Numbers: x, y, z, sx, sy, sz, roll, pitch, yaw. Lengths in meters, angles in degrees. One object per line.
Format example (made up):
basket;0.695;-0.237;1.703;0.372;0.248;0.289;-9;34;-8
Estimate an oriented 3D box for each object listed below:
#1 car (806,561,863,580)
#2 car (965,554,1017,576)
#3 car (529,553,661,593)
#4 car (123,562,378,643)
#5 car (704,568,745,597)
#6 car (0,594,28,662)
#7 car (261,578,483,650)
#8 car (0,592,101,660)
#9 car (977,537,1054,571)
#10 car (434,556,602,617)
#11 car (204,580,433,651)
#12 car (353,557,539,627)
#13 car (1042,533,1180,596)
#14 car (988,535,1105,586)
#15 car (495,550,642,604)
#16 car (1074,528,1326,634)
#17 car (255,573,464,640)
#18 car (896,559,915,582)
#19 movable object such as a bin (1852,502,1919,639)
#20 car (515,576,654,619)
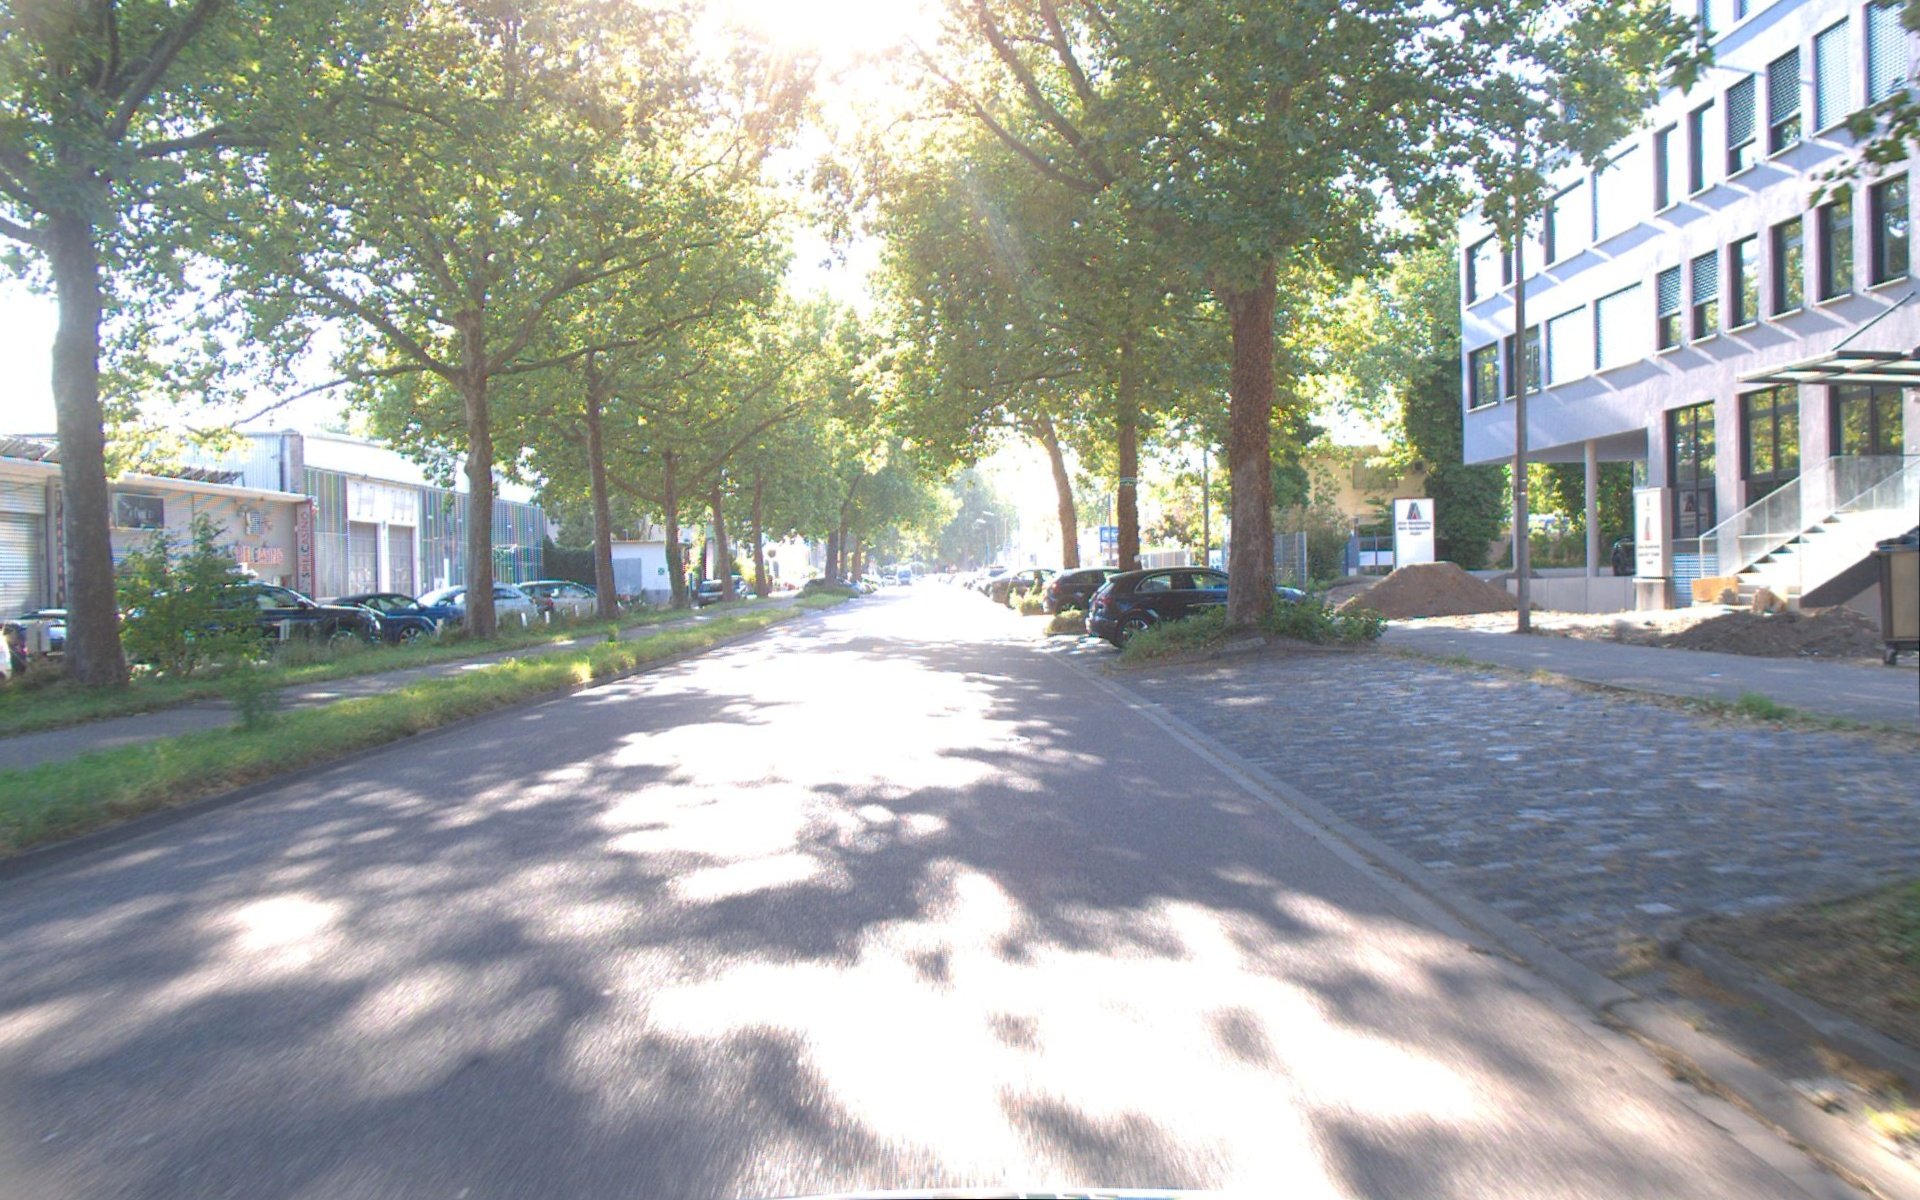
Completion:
car;-10.260;-2.400;135.613;4.507;1.446;2.000;-1;2;-2
car;2.788;-3.141;149.449;4.507;1.607;2.000;-4;1;1
car;-13.583;-1.023;61.752;4.448;1.328;1.969;-3;2;-43
car;-13.763;0.009;32.200;4.221;1.477;1.972;-1;1;-39
car;-13.203;-1.014;92.806;1.956;1.393;3.916;-6;1;-5
car;-21.775;0.589;35.783;3.230;1.409;1.548;1;1;34
car;-12.846;0.255;36.237;4.221;1.477;1.972;-1;1;-39
car;-21.076;0.547;37.425;3.233;1.431;1.702;1;1;37
car;3.405;-2.863;102.467;4.533;1.741;1.999;-5;1;-3
car;-12.407;-0.399;46.649;1.964;1.658;4.238;1;1;41
car;-13.751;0.283;35.545;4.221;1.406;1.972;-1;1;-39
car;-13.255;-0.232;42.836;1.965;1.729;4.237;1;1;42
car;4.393;-1.043;48.350;3.710;1.511;1.860;-5;1;-3
car;3.528;-1.626;67.811;4.481;1.745;1.942;-4;1;-5
car;-13.193;-0.777;55.872;4.439;1.761;1.973;-1;1;-39
car;4.342;-0.359;30.359;4.200;1.511;1.860;-5;1;-3
car;-14.029;0.120;38.733;4.221;1.477;1.972;-1;1;-39
car;-6.736;-3.681;205.122;2.084;2.705;7.001;-2;2;-1
movable object such as a bin;10.026;-0.306;17.087;0.732;1.374;1.620;0;1;-1
car;-13.292;-0.105;58.694;4.448;1.328;1.969;-3;2;-43
